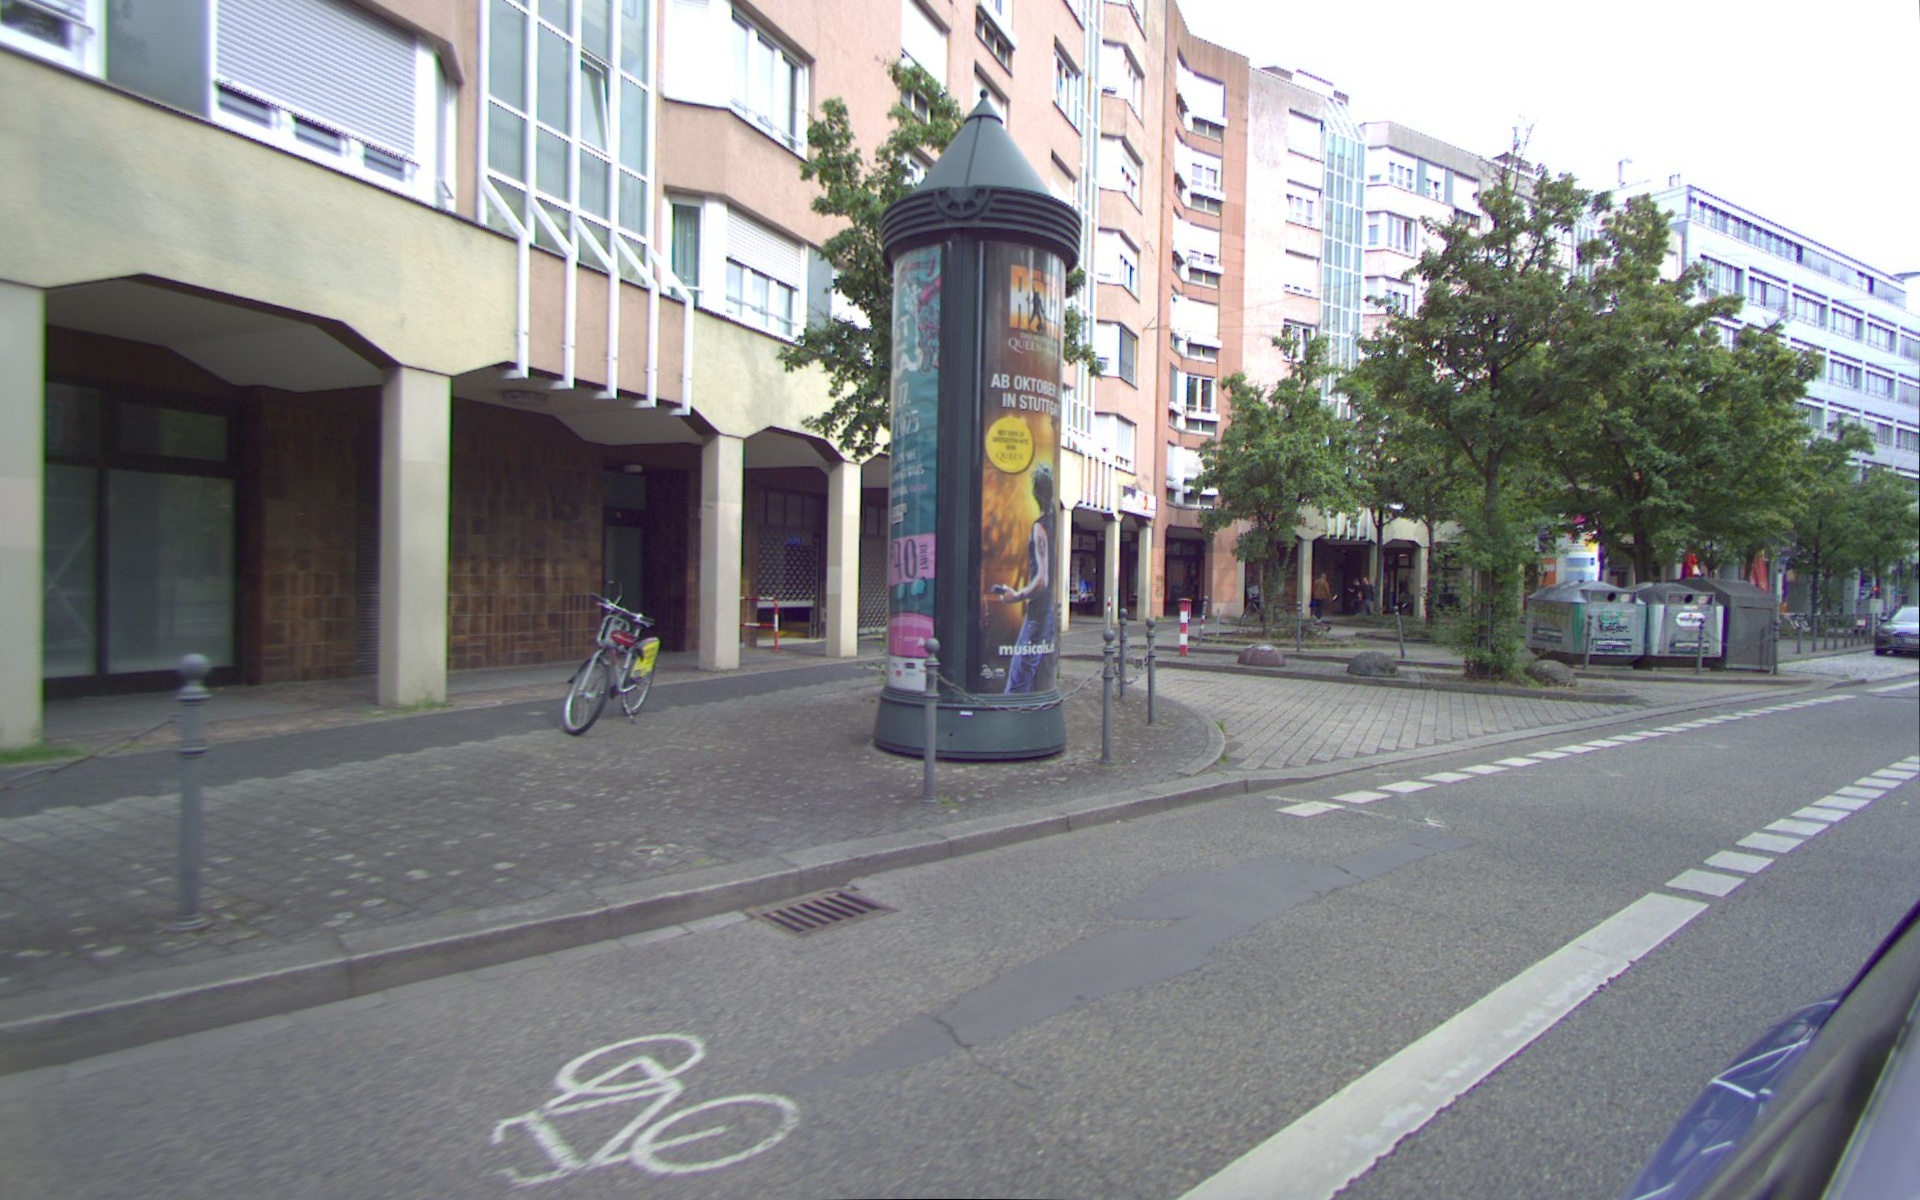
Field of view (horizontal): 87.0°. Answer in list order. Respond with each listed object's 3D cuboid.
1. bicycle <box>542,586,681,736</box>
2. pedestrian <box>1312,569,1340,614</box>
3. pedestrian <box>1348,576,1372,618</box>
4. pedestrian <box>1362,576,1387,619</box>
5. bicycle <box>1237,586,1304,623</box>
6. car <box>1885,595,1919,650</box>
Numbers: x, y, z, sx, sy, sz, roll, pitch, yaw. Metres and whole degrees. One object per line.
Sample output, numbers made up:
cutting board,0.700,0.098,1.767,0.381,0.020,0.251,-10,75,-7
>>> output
bicycle,-3.019,0.481,8.932,0.658,1.142,1.666,1,2,0
pedestrian,13.737,-0.313,37.996,0.834,1.683,0.535,1,1,-30
pedestrian,16.247,-0.118,41.074,0.668,1.683,0.608,1,1,-32
pedestrian,16.563,-0.097,40.444,0.668,1.683,0.608,1,1,-32
bicycle,9.834,0.144,32.085,1.929,1.126,0.597,1,1,4
car,28.087,0.643,28.889,4.582,1.460,1.821,0,2,-40
